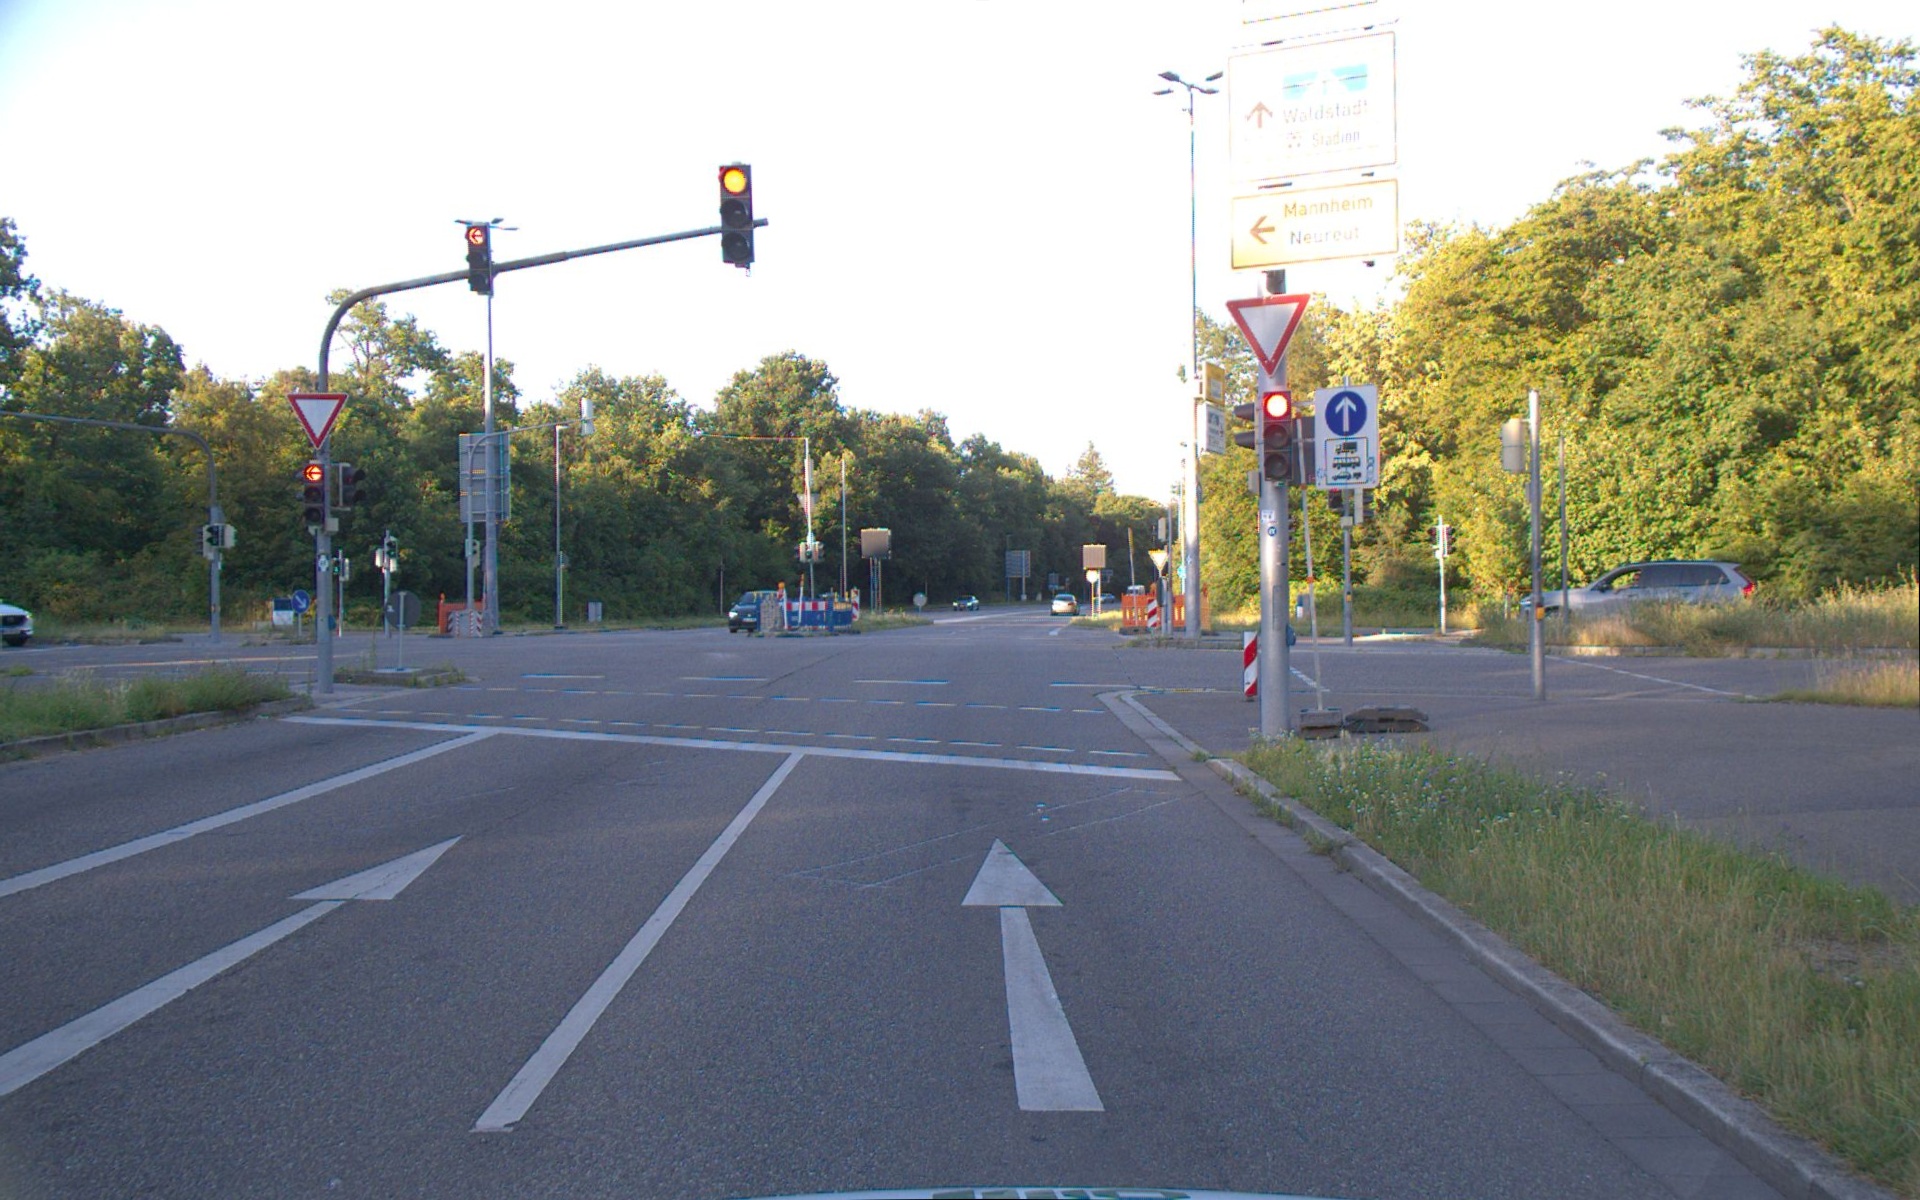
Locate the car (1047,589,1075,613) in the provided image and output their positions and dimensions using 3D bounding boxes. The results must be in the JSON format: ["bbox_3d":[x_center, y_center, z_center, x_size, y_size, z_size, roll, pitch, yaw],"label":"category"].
[{"bbox_3d":[7.203,0.025,118.207,1.952,1.646,4.002,-1,1,4],"label":"car"}]

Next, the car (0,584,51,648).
[{"bbox_3d":[-26.915,0.428,44.651,4.157,1.668,2.000,0,0,22],"label":"car"}]

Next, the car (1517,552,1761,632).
[{"bbox_3d":[14.551,-0.164,35.624,4.717,1.626,2.000,-1,0,22],"label":"car"}]

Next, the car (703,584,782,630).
[{"bbox_3d":[-7.723,0.205,59.150,1.952,1.556,4.680,-1,1,4],"label":"car"}]

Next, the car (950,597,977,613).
[{"bbox_3d":[0.361,0.499,156.006,1.951,1.445,4.004,-1,1,9],"label":"car"}]
